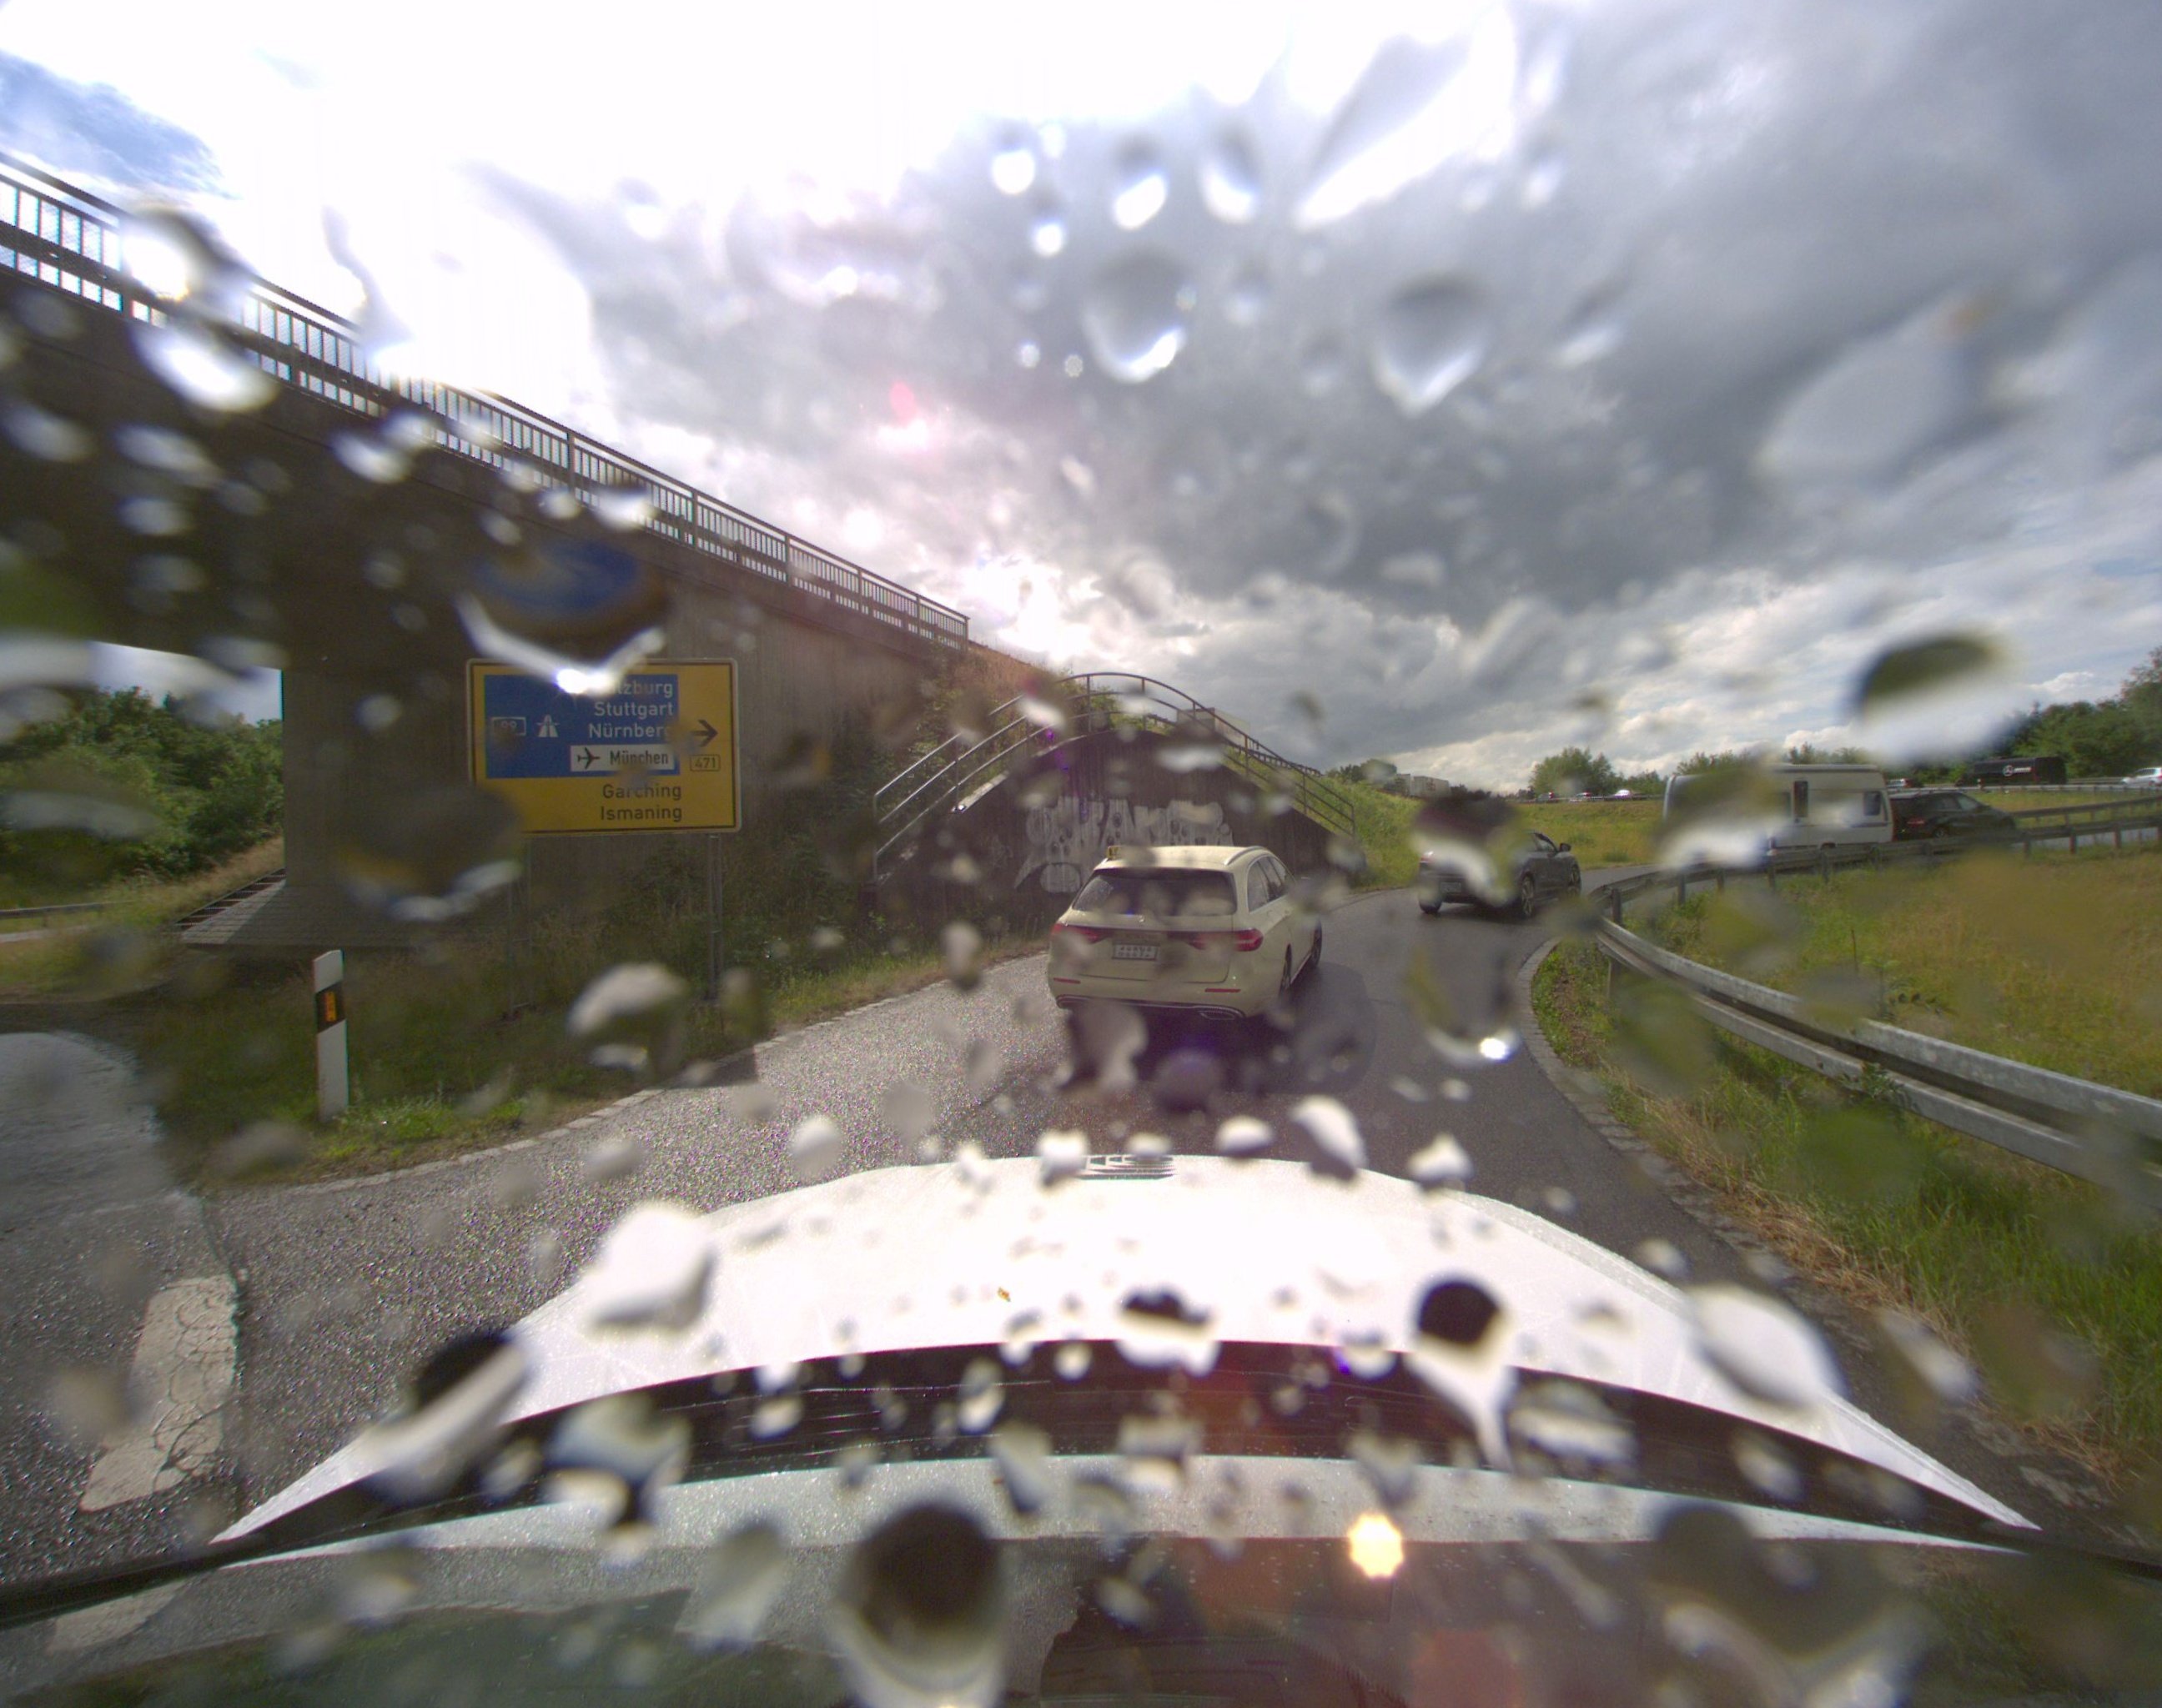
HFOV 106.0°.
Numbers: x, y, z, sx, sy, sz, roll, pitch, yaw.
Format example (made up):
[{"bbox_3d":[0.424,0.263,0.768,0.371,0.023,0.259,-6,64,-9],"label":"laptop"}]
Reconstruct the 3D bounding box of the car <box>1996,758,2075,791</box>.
[{"bbox_3d":[71.843,-5.975,61.384,1.979,2.014,4.016,-1,0,15],"label":"car"}]

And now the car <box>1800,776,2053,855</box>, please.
[{"bbox_3d":[24.208,-1.115,23.398,5.746,1.925,2.427,-3,2,-12],"label":"car"}]

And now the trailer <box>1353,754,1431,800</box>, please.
[{"bbox_3d":[39.386,-9.431,102.259,4.370,3.955,20.348,-1,0,35],"label":"trailer"}]

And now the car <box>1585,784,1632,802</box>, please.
[{"bbox_3d":[68.005,-7.904,105.069,1.996,1.861,5.035,-3,0,-13],"label":"car"}]

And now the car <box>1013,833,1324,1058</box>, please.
[{"bbox_3d":[1.210,0.588,7.954,1.900,1.507,4.620,-2,1,20],"label":"car"}]

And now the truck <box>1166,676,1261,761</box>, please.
[{"bbox_3d":[8.939,-8.717,53.804,3.150,3.966,9.294,-1,0,29],"label":"truck"}]

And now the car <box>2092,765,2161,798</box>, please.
[{"bbox_3d":[68.059,-4.664,52.090,1.647,1.784,5.080,-3,0,17],"label":"car"}]

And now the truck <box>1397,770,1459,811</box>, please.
[{"bbox_3d":[50.612,-8.967,118.263,4.417,4.503,19.500,-1,0,35],"label":"truck"}]

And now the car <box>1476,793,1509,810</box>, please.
[{"bbox_3d":[57.066,-7.275,112.822,3.949,2.014,1.838,-1,0,29],"label":"car"}]

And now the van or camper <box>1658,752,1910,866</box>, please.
[{"bbox_3d":[18.838,-1.235,21.845,6.000,2.729,2.423,-3,2,-19],"label":"van or camper"}]

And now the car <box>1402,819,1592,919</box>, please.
[{"bbox_3d":[7.686,0.177,14.887,4.022,1.524,1.703,-4,3,-41],"label":"car"}]

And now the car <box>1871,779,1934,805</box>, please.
[{"bbox_3d":[73.533,-5.545,73.011,1.981,2.013,4.012,-3,0,10],"label":"car"}]
